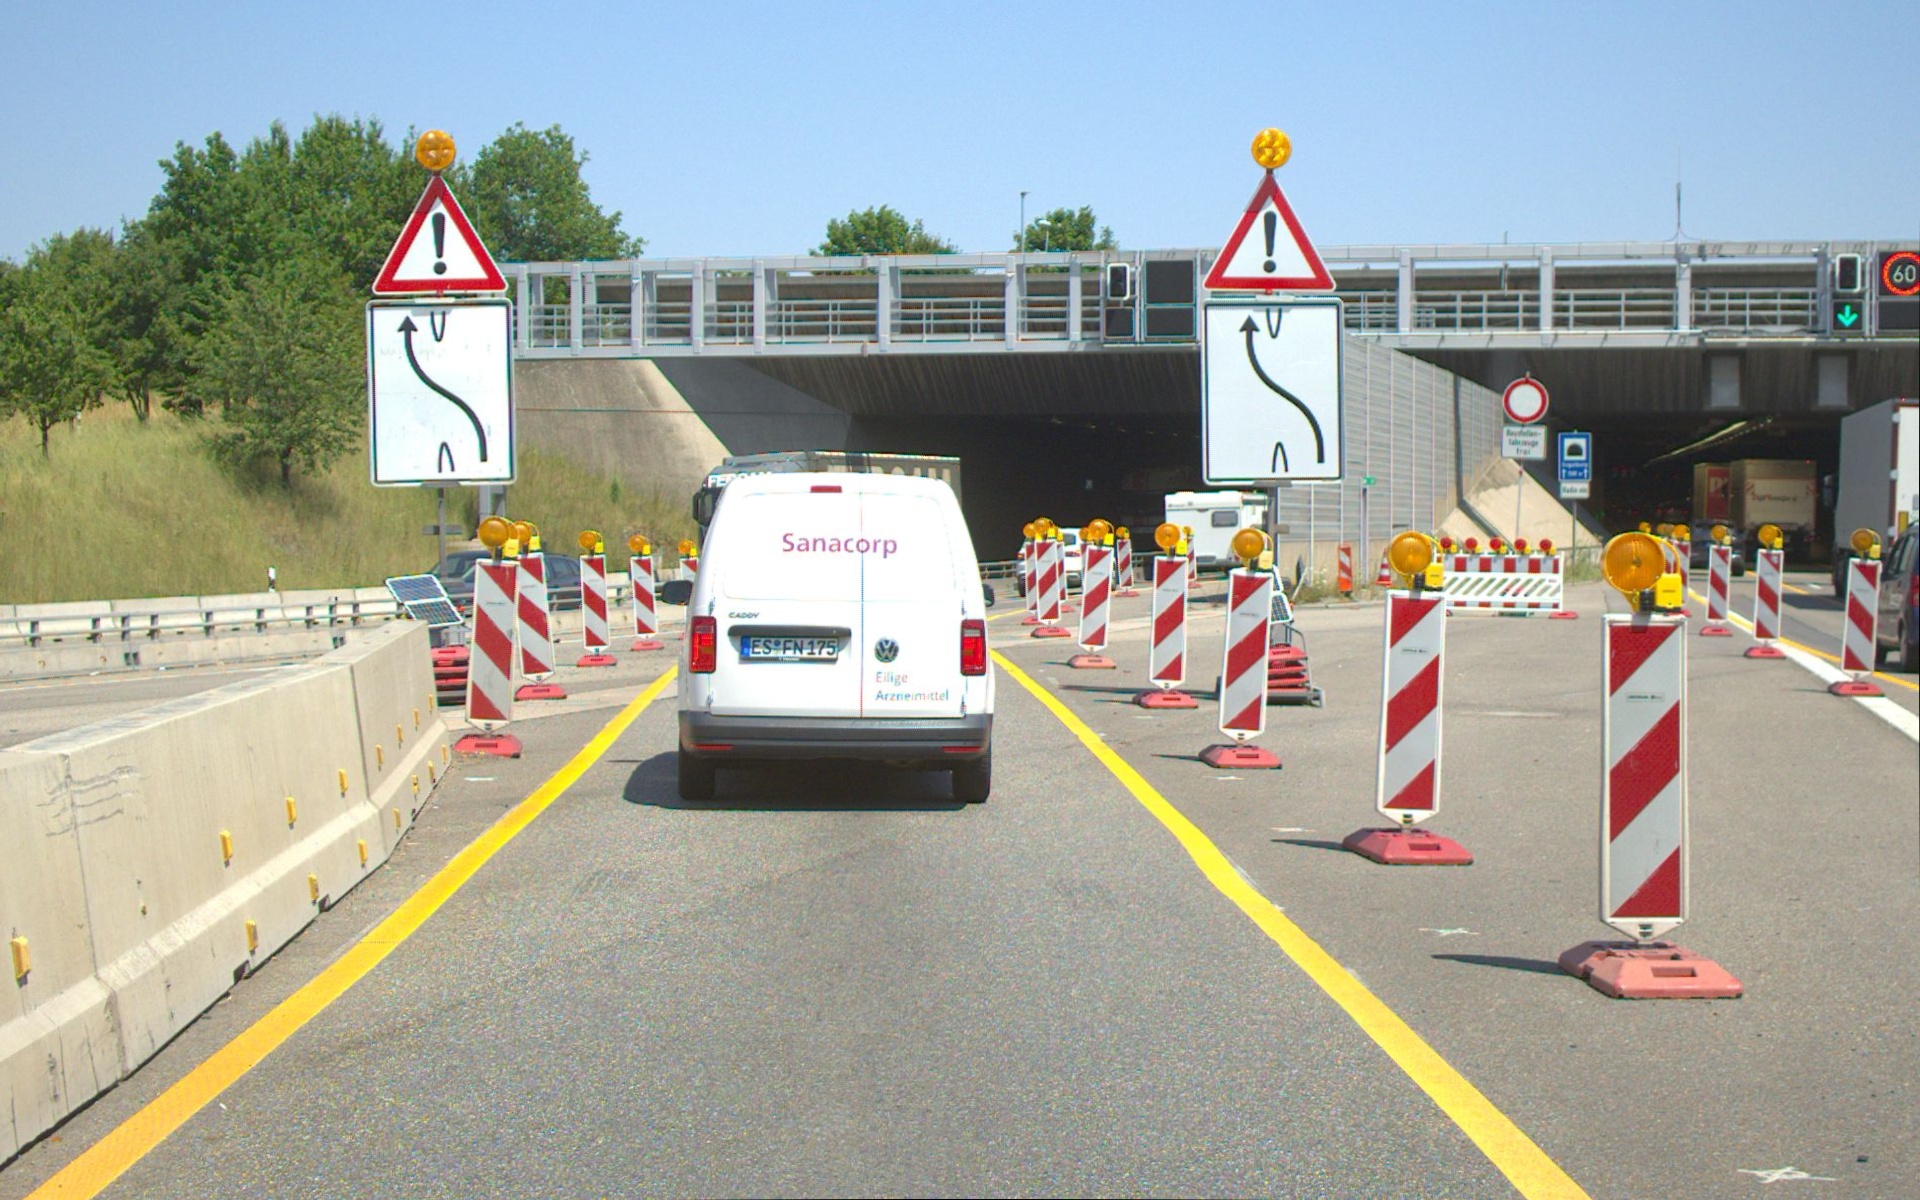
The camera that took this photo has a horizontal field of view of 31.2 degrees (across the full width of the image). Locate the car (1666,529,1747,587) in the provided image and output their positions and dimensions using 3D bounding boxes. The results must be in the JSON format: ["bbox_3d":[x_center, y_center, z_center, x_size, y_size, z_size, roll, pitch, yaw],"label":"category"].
[{"bbox_3d":[22.126,-1.260,102.048,1.815,1.624,4.189,2,1,5],"label":"car"}]

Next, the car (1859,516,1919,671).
[{"bbox_3d":[11.235,-0.067,38.426,1.816,1.637,4.651,2,1,9],"label":"car"}]

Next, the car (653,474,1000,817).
[{"bbox_3d":[-0.721,0.210,19.908,1.808,1.788,3.731,0,1,-1],"label":"car"}]

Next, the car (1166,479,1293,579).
[{"bbox_3d":[8.016,-2.065,101.613,2.815,2.764,7.097,1,0,12],"label":"car"}]

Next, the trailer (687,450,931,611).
[{"bbox_3d":[-4.095,-1.968,97.996,2.437,4.282,13.798,0,1,17],"label":"trailer"}]

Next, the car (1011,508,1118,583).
[{"bbox_3d":[2.557,-1.325,83.131,1.809,1.745,4.407,0,1,12],"label":"car"}]

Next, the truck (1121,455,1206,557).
[{"bbox_3d":[8.418,-3.855,141.644,2.336,4.094,5.013,0,1,17],"label":"truck"}]

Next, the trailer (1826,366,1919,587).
[{"bbox_3d":[19.543,-2.316,69.989,2.734,4.048,14.089,2,1,11],"label":"trailer"}]

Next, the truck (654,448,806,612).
[{"bbox_3d":[-6.079,-1.850,91.524,2.433,4.255,4.835,0,1,17],"label":"truck"}]

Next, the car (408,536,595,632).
[{"bbox_3d":[-8.450,-0.325,63.709,1.699,1.724,4.447,0,1,18],"label":"car"}]

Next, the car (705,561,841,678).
[{"bbox_3d":[-2.666,0.241,48.330,1.808,1.532,4.410,0,1,-4],"label":"car"}]

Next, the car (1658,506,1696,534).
[{"bbox_3d":[50.844,-5.650,243.858,2.332,1.832,4.542,2,1,8],"label":"car"}]

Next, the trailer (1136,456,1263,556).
[{"bbox_3d":[10.398,-3.990,147.792,2.340,4.088,13.250,0,1,18],"label":"trailer"}]

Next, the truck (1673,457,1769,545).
[{"bbox_3d":[38.184,-4.881,173.052,3.403,4.057,16.531,2,1,8],"label":"truck"}]

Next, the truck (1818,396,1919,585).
[{"bbox_3d":[20.850,-2.381,76.867,2.746,4.019,5.924,2,1,10],"label":"truck"}]

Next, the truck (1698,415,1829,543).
[{"bbox_3d":[31.194,-4.562,134.139,3.403,4.320,16.530,2,0,8],"label":"truck"}]
